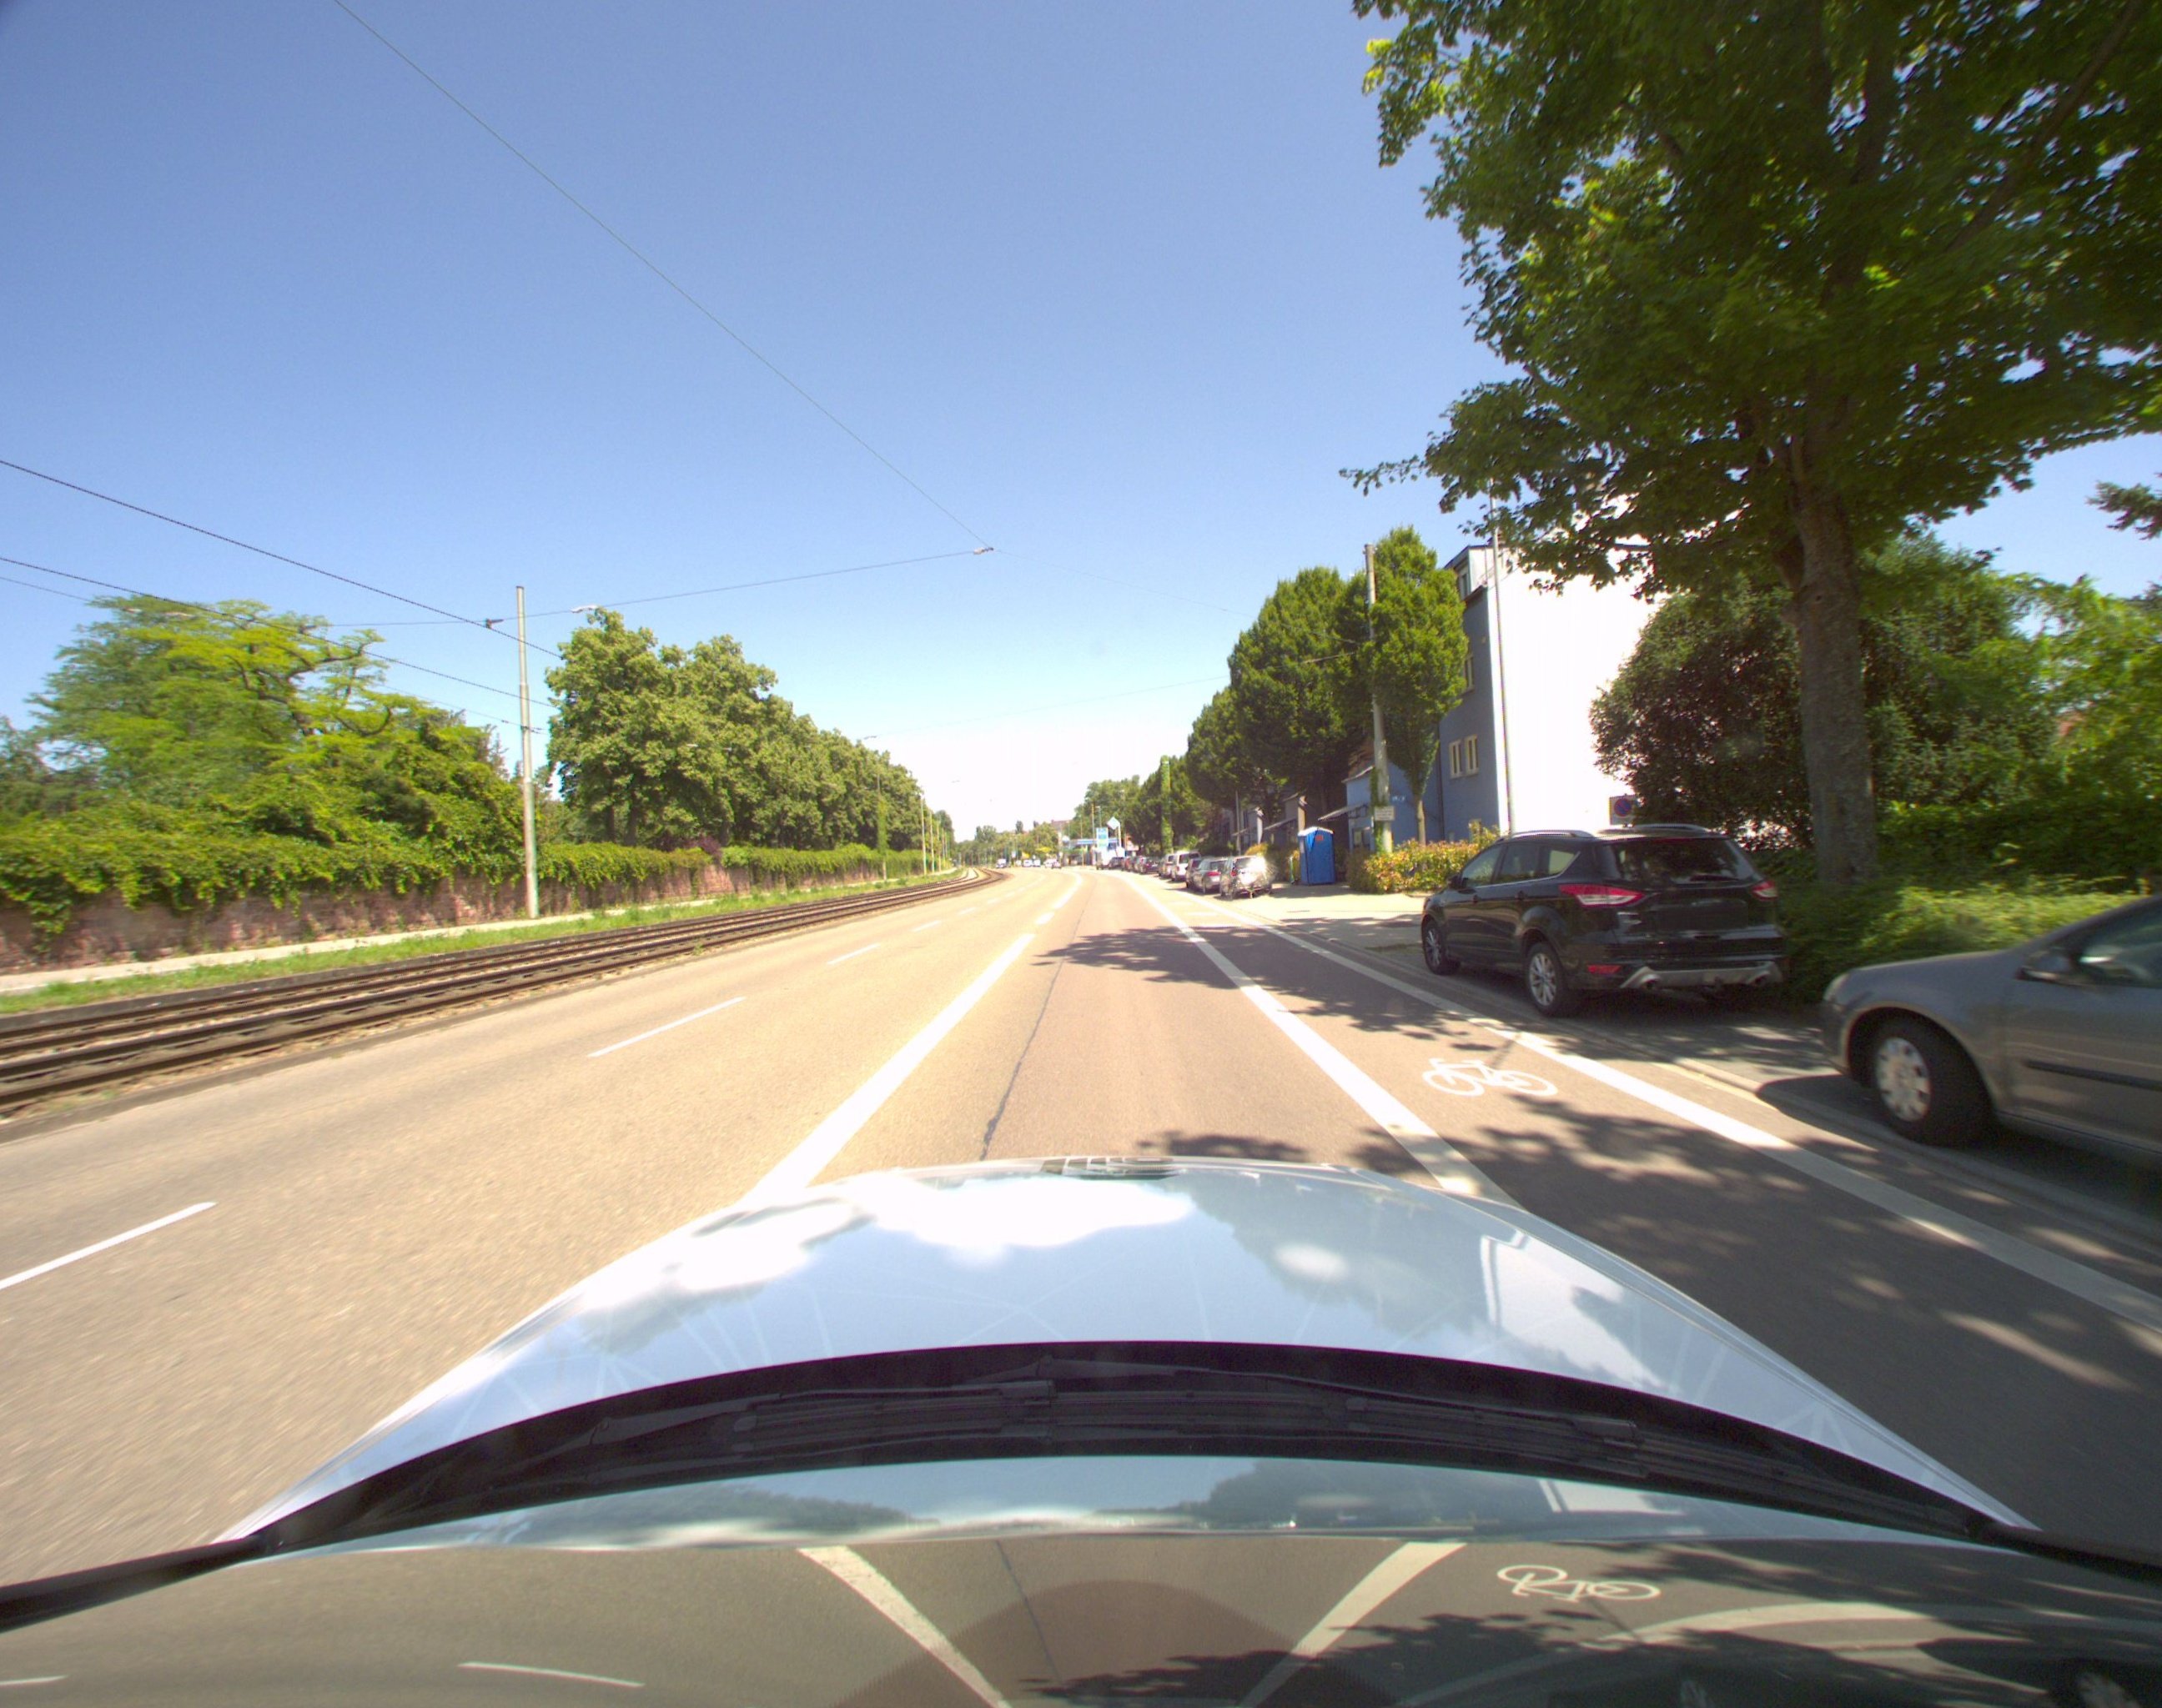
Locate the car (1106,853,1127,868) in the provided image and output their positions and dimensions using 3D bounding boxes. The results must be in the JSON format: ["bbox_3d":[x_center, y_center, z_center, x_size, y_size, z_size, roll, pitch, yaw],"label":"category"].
[{"bbox_3d":[4.415,0.796,100.749,1.754,1.630,4.313,-5,0,-7],"label":"car"}]

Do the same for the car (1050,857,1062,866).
[{"bbox_3d":[-4.798,1.406,153.898,1.754,1.630,4.313,-5,0,-7],"label":"car"}]

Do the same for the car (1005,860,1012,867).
[{"bbox_3d":[-19.868,2.612,222.514,1.754,1.630,4.313,-5,0,-7],"label":"car"}]

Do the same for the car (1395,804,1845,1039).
[{"bbox_3d":[5.132,0.522,8.730,1.833,1.706,4.630,-5,0,3],"label":"car"}]

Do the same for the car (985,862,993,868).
[{"bbox_3d":[-26.131,3.094,230.957,1.757,1.630,4.305,-5,0,-12],"label":"car"}]

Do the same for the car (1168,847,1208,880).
[{"bbox_3d":[6.573,0.554,50.569,1.835,1.794,4.353,-5,0,0],"label":"car"}]

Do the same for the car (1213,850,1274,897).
[{"bbox_3d":[6.031,0.668,30.581,1.513,1.529,3.818,-5,0,2],"label":"car"}]

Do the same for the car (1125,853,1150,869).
[{"bbox_3d":[5.825,0.722,84.822,1.706,1.562,4.312,-5,0,-7],"label":"car"}]

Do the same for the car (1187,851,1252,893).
[{"bbox_3d":[5.968,0.734,35.593,1.835,1.529,4.964,-5,0,-1],"label":"car"}]

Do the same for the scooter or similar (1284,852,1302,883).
[{"bbox_3d":[8.752,0.544,33.667,0.382,1.280,1.339,-1,0,2],"label":"scooter or similar"}]

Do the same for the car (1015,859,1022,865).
[{"bbox_3d":[-16.632,2.147,216.860,1.753,1.630,4.315,-5,0,-6],"label":"car"}]

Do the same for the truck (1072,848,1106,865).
[{"bbox_3d":[1.905,0.543,194.982,7.946,3.602,2.661,-3,0,-2],"label":"truck"}]

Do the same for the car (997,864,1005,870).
[{"bbox_3d":[-24.009,3.785,244.553,1.757,1.630,4.305,-5,0,-12],"label":"car"}]

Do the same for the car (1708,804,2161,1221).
[{"bbox_3d":[5.021,0.573,3.074,1.835,1.529,4.352,-5,0,-1],"label":"car"}]

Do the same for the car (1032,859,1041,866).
[{"bbox_3d":[-12.066,2.308,220.700,1.754,1.630,4.313,-5,0,-7],"label":"car"}]

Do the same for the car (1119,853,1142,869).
[{"bbox_3d":[5.490,0.756,90.748,1.705,1.562,4.314,-5,0,-6],"label":"car"}]

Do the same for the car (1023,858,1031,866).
[{"bbox_3d":[-14.113,2.116,214.217,1.754,1.874,4.313,-5,0,-7],"label":"car"}]

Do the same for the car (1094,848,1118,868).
[{"bbox_3d":[3.360,0.510,110.812,2.000,2.456,6.091,-5,0,-8],"label":"car"}]

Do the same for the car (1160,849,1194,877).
[{"bbox_3d":[6.623,0.578,56.755,1.834,1.694,4.781,-5,0,2],"label":"car"}]

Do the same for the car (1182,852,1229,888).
[{"bbox_3d":[6.139,0.743,40.629,1.833,1.529,4.220,-5,0,3],"label":"car"}]

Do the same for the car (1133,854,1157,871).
[{"bbox_3d":[6.225,0.790,79.617,1.703,1.492,4.726,-5,0,-3],"label":"car"}]

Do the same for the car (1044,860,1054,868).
[{"bbox_3d":[-7.285,2.273,185.288,1.753,1.630,4.315,-5,0,-6],"label":"car"}]

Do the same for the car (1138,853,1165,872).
[{"bbox_3d":[6.348,0.743,73.625,1.703,1.492,5.034,-5,0,-2],"label":"car"}]

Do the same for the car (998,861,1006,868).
[{"bbox_3d":[-19.899,2.550,204.319,1.754,1.509,4.313,-5,0,-7],"label":"car"}]

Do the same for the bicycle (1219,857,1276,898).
[{"bbox_3d":[5.825,0.821,28.544,1.765,1.228,0.685,-7,-1,5],"label":"bicycle"}]
